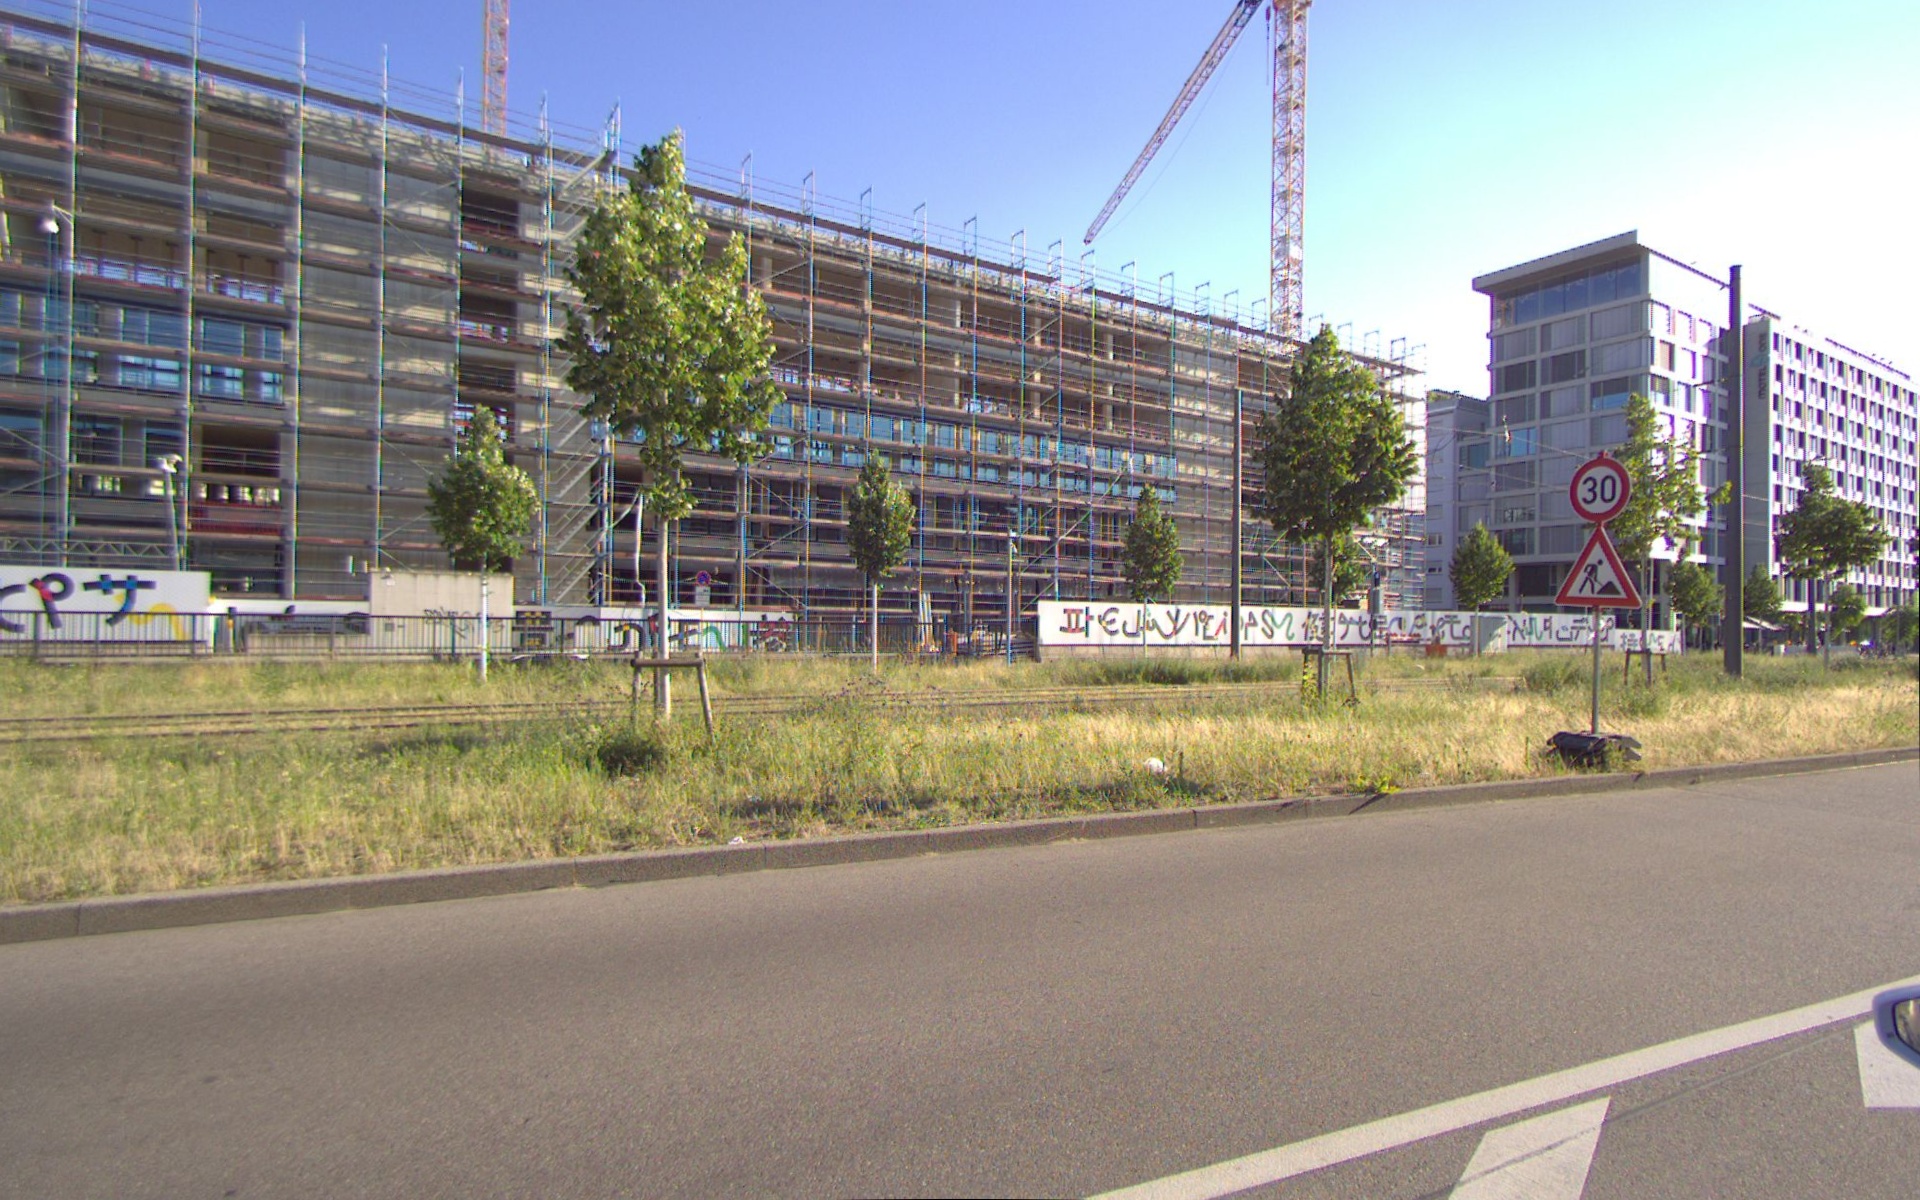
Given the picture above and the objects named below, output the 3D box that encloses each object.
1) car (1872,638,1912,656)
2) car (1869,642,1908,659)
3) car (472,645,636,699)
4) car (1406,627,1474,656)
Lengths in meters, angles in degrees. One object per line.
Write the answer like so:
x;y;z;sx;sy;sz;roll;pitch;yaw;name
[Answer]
80.536;4.080;86.814;3.543;1.461;1.699;2;0;-32;car
84.029;4.588;90.906;3.543;1.461;1.699;2;0;-32;car
-11.214;1.956;27.843;4.045;1.327;1.520;1;-1;-30;car
25.982;2.270;54.369;3.543;1.461;1.699;2;0;-32;car
